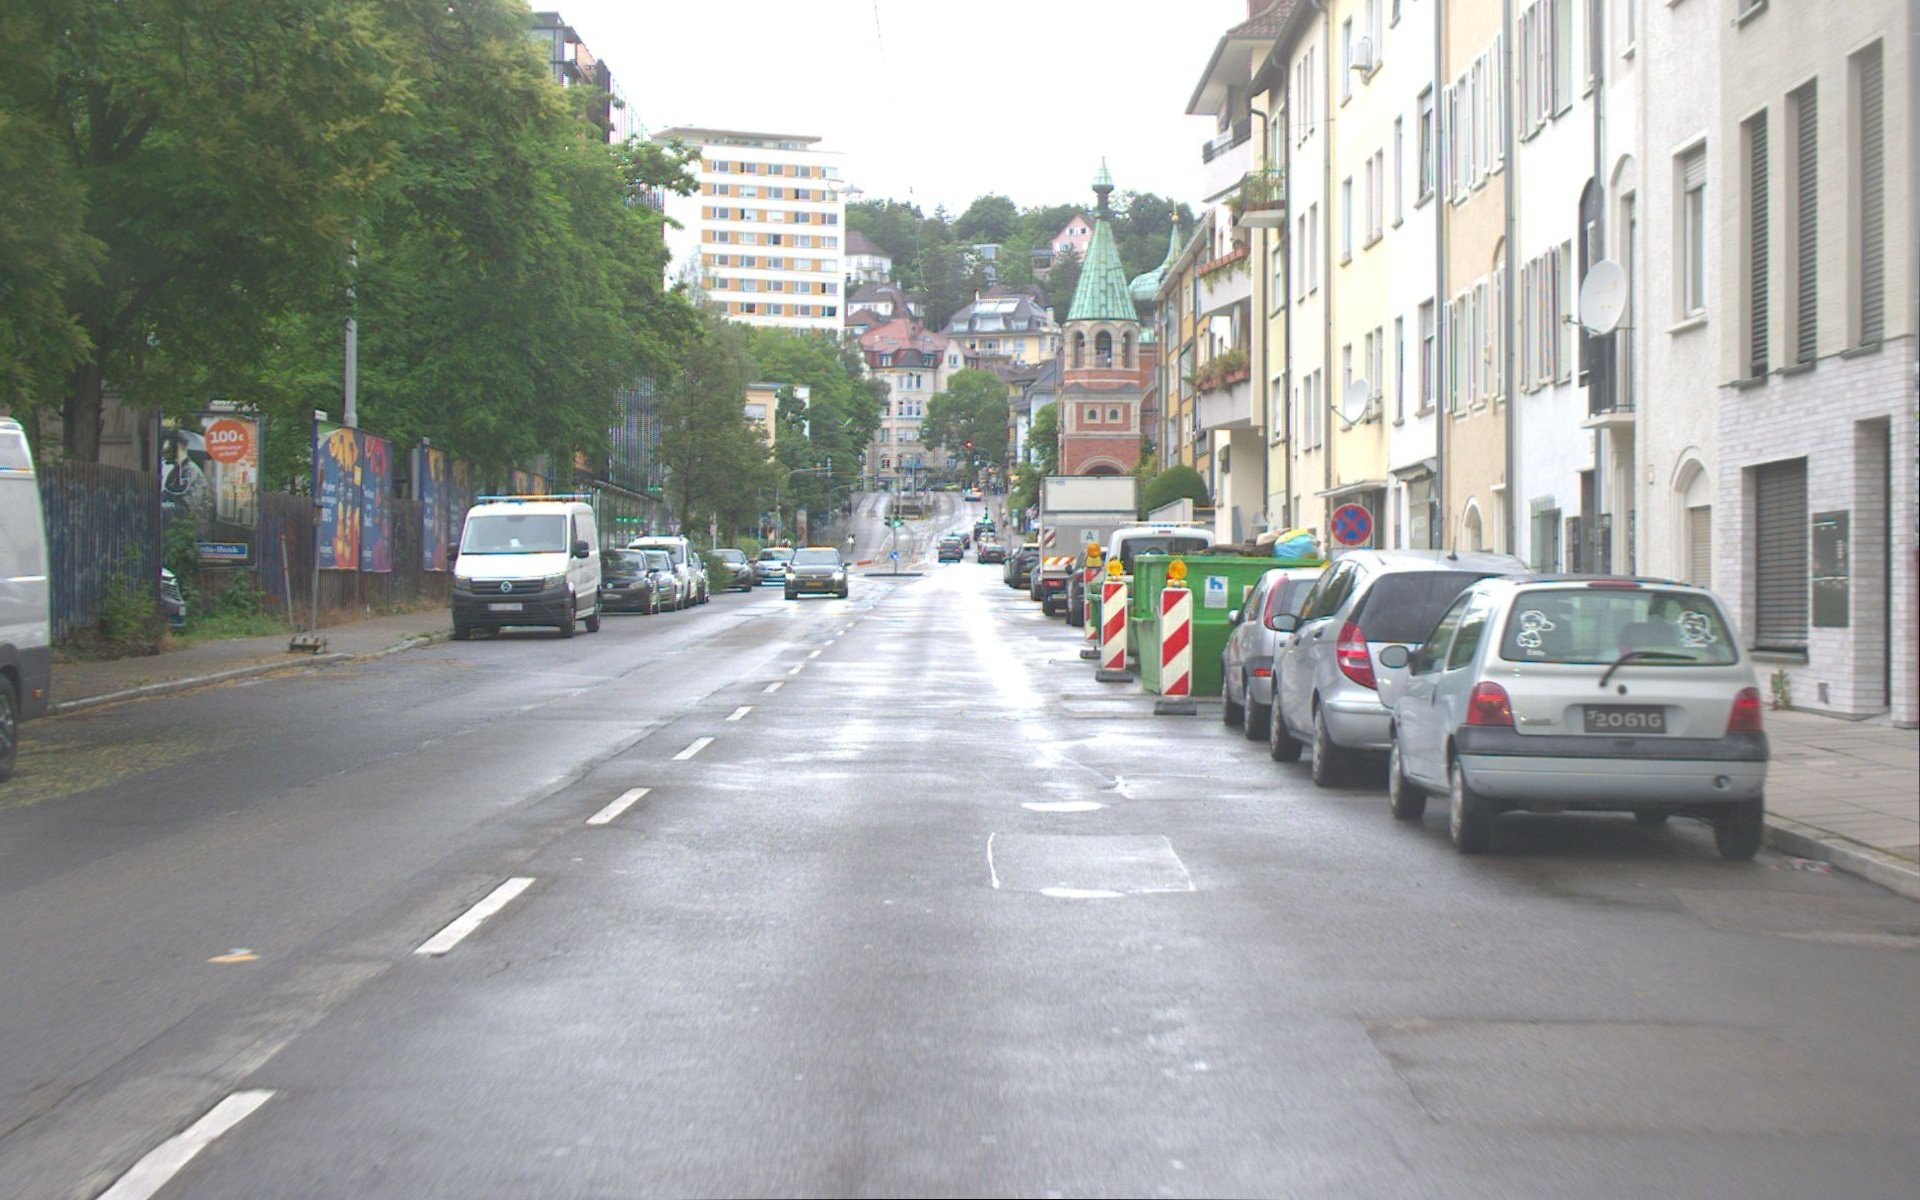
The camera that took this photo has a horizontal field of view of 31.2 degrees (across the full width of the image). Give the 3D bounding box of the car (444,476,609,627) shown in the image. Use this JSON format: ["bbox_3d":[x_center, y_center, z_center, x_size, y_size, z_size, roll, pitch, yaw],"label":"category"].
[{"bbox_3d":[-7.455,-0.875,59.706,2.012,2.478,5.983,-1,1,1],"label":"car"}]

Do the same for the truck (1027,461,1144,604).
[{"bbox_3d":[2.857,-1.559,79.900,2.469,3.161,7.036,0,1,0],"label":"truck"}]

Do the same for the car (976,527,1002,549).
[{"bbox_3d":[2.198,-4.709,260.374,1.732,1.648,4.000,-1,1,3],"label":"car"}]

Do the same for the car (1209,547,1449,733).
[{"bbox_3d":[3.124,0.294,29.727,1.626,1.406,3.842,2,2,0],"label":"car"}]

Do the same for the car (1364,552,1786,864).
[{"bbox_3d":[3.271,0.510,18.931,1.558,1.449,3.760,2,2,-1],"label":"car"}]

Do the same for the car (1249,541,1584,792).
[{"bbox_3d":[3.102,0.393,24.083,1.716,1.519,4.000,2,2,-1],"label":"car"}]

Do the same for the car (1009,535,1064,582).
[{"bbox_3d":[2.766,-1.522,125.320,1.817,1.647,4.076,2,1,0],"label":"car"}]

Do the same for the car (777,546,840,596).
[{"bbox_3d":[-4.432,-0.857,100.816,1.805,1.411,4.384,0,1,-2],"label":"car"}]

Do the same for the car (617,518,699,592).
[{"bbox_3d":[-7.563,-1.129,86.526,1.723,1.794,4.344,-1,1,-1],"label":"car"}]

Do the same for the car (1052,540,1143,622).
[{"bbox_3d":[2.765,-0.410,69.728,1.663,1.568,4.098,0,1,0],"label":"car"}]

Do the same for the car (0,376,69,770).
[{"bbox_3d":[-7.362,-0.118,20.911,2.230,2.570,6.538,-1,1,-1],"label":"car"}]

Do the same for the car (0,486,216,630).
[{"bbox_3d":[-13.747,-0.600,49.731,5.499,2.002,2.147,-1,1,-2],"label":"car"}]

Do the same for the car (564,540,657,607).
[{"bbox_3d":[-7.595,-0.579,74.965,1.682,1.394,3.911,-1,1,-1],"label":"car"}]

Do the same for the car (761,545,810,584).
[{"bbox_3d":[-6.643,-1.356,130.997,1.709,1.445,4.294,0,1,-1],"label":"car"}]

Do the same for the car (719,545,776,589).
[{"bbox_3d":[-7.132,-1.109,115.802,1.803,1.445,4.658,0,1,-2],"label":"car"}]

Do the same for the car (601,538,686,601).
[{"bbox_3d":[-7.501,-0.731,81.787,1.682,1.457,4.277,-1,1,-1],"label":"car"}]

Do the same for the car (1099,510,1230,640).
[{"bbox_3d":[3.140,-0.421,53.444,1.817,1.917,4.239,-1,1,1],"label":"car"}]
